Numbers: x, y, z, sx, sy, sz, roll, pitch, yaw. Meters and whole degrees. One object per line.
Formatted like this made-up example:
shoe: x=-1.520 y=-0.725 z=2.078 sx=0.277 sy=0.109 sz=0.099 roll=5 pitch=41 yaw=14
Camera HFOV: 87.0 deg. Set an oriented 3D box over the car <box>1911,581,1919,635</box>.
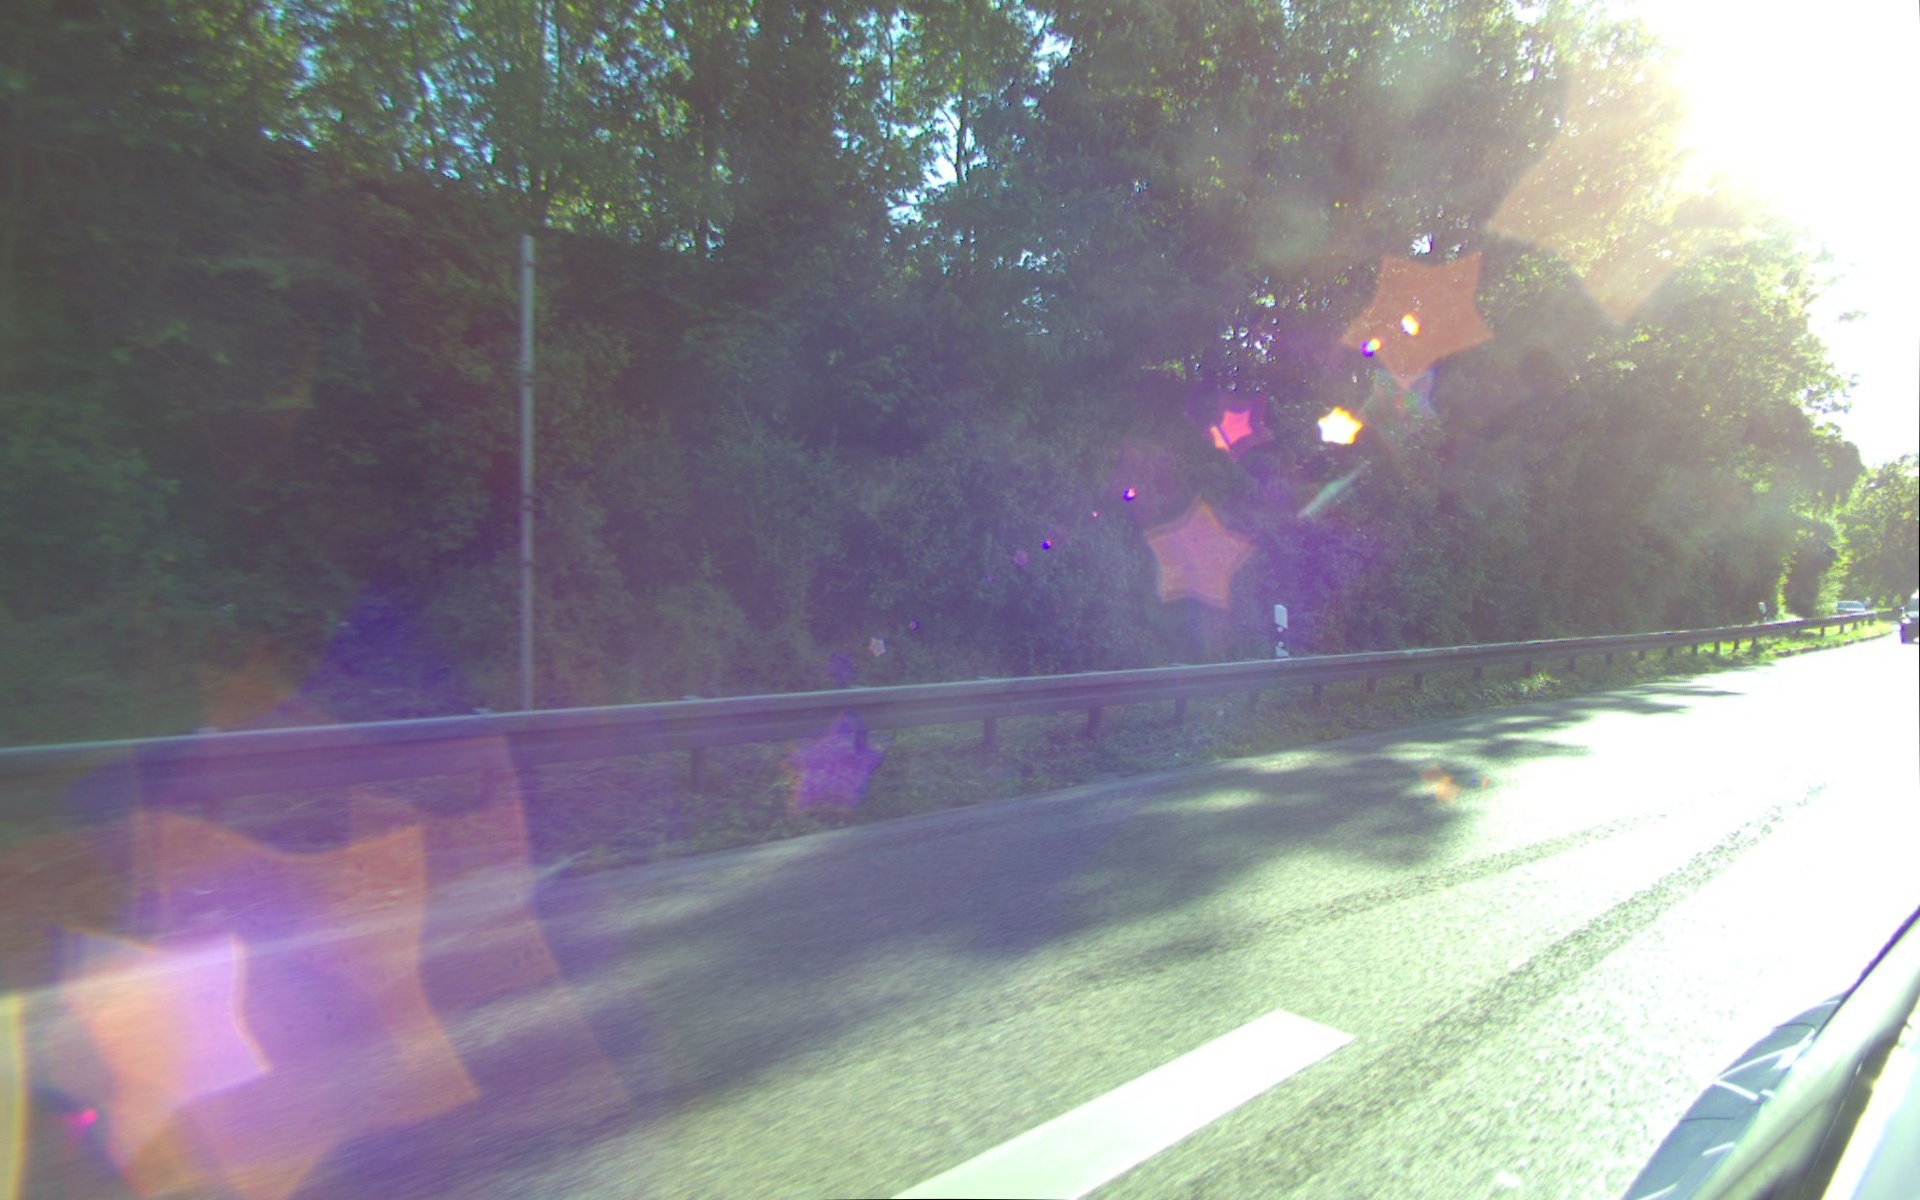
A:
car: x=31.987 y=0.269 z=32.564 sx=3.932 sy=1.684 sz=1.743 roll=1 pitch=-1 yaw=-43
